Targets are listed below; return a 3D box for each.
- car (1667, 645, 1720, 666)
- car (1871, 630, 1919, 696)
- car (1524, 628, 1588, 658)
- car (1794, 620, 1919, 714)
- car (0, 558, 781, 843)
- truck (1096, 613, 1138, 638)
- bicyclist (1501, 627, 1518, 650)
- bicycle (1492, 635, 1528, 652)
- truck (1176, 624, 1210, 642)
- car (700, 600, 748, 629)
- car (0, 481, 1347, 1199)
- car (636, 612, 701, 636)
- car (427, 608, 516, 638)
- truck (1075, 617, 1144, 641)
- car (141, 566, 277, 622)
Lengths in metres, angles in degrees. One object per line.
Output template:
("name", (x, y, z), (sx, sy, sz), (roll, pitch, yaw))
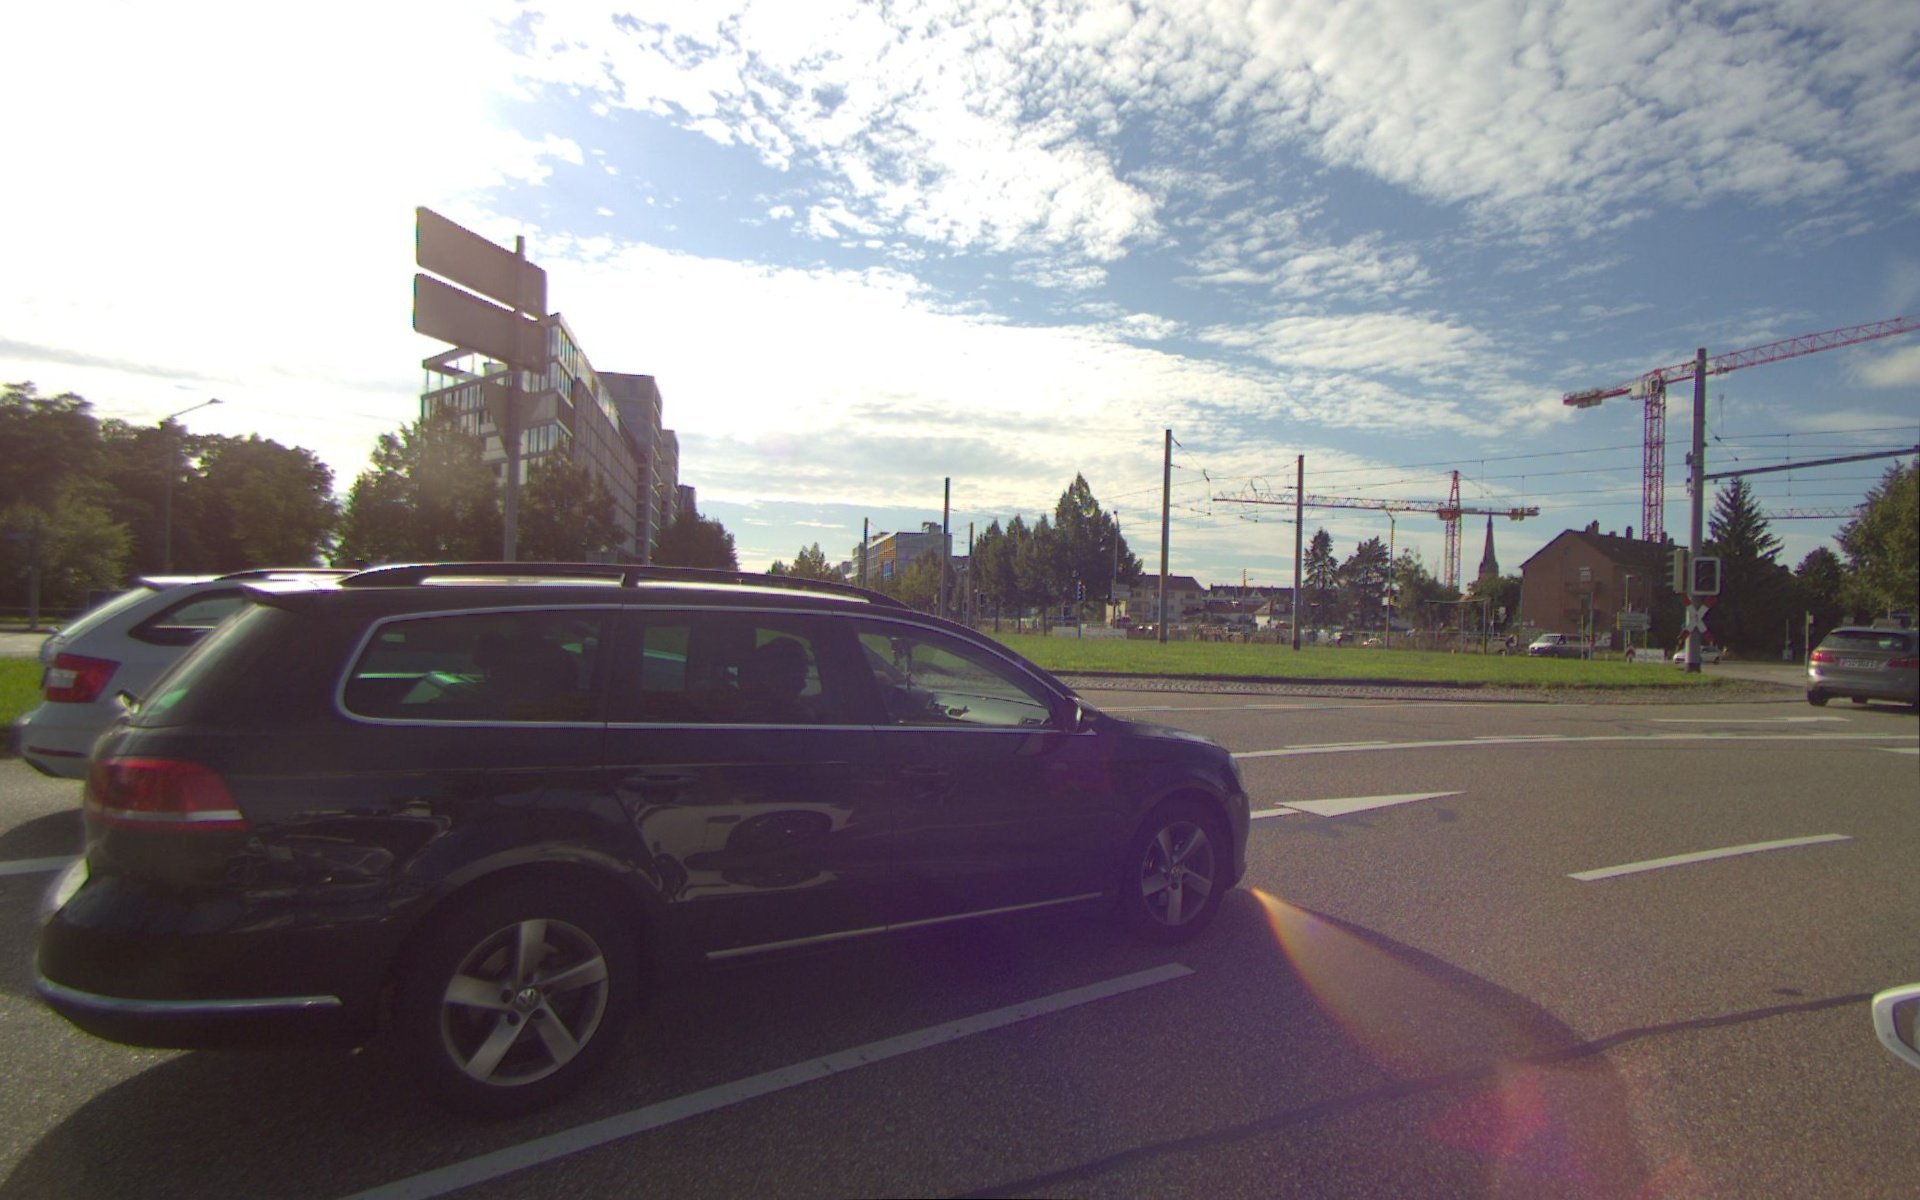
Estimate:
("car", (59.787, 4.524, 81.852), (4.609, 1.563, 1.886), (3, -1, -31))
("car", (24.813, 1.652, 25.672), (1.969, 1.561, 3.983), (4, 0, 39))
("car", (43.916, 3.186, 74.015), (4.602, 1.928, 1.888), (3, -1, -28))
("car", (18.152, 1.300, 19.714), (4.028, 1.593, 1.755), (3, -1, -36))
("car", (-3.784, 0.543, 7.202), (4.597, 1.464, 1.836), (2, 0, -38))
("truck", (21.467, 3.434, 137.685), (2.772, 3.249, 7.289), (3, -1, -17))
("bicyclist", (38.576, 2.700, 70.489), (0.945, 1.595, 0.769), (0, -1, 38))
("bicycle", (38.575, 3.052, 70.477), (2.116, 1.152, 0.769), (0, -2, 39))
("truck", (32.818, 4.638, 141.634), (2.031, 2.358, 5.617), (3, -1, -17))
("car", (-19.918, 1.264, 84.998), (2.024, 2.293, 6.028), (0, -2, 6))
("car", (-0.674, 0.587, 4.264), (4.797, 1.587, 1.980), (2, 1, -36))
("car", (-19.257, 1.603, 66.403), (1.658, 1.521, 3.980), (-1, -2, 36))
("car", (-25.870, 1.246, 53.329), (1.658, 1.521, 3.982), (-1, -2, 35))
("truck", (18.461, 3.562, 124.077), (7.728, 2.601, 3.066), (3, -1, -14))
("car", (-26.942, -0.163, 36.235), (1.653, 1.849, 4.560), (0, -2, -3))
